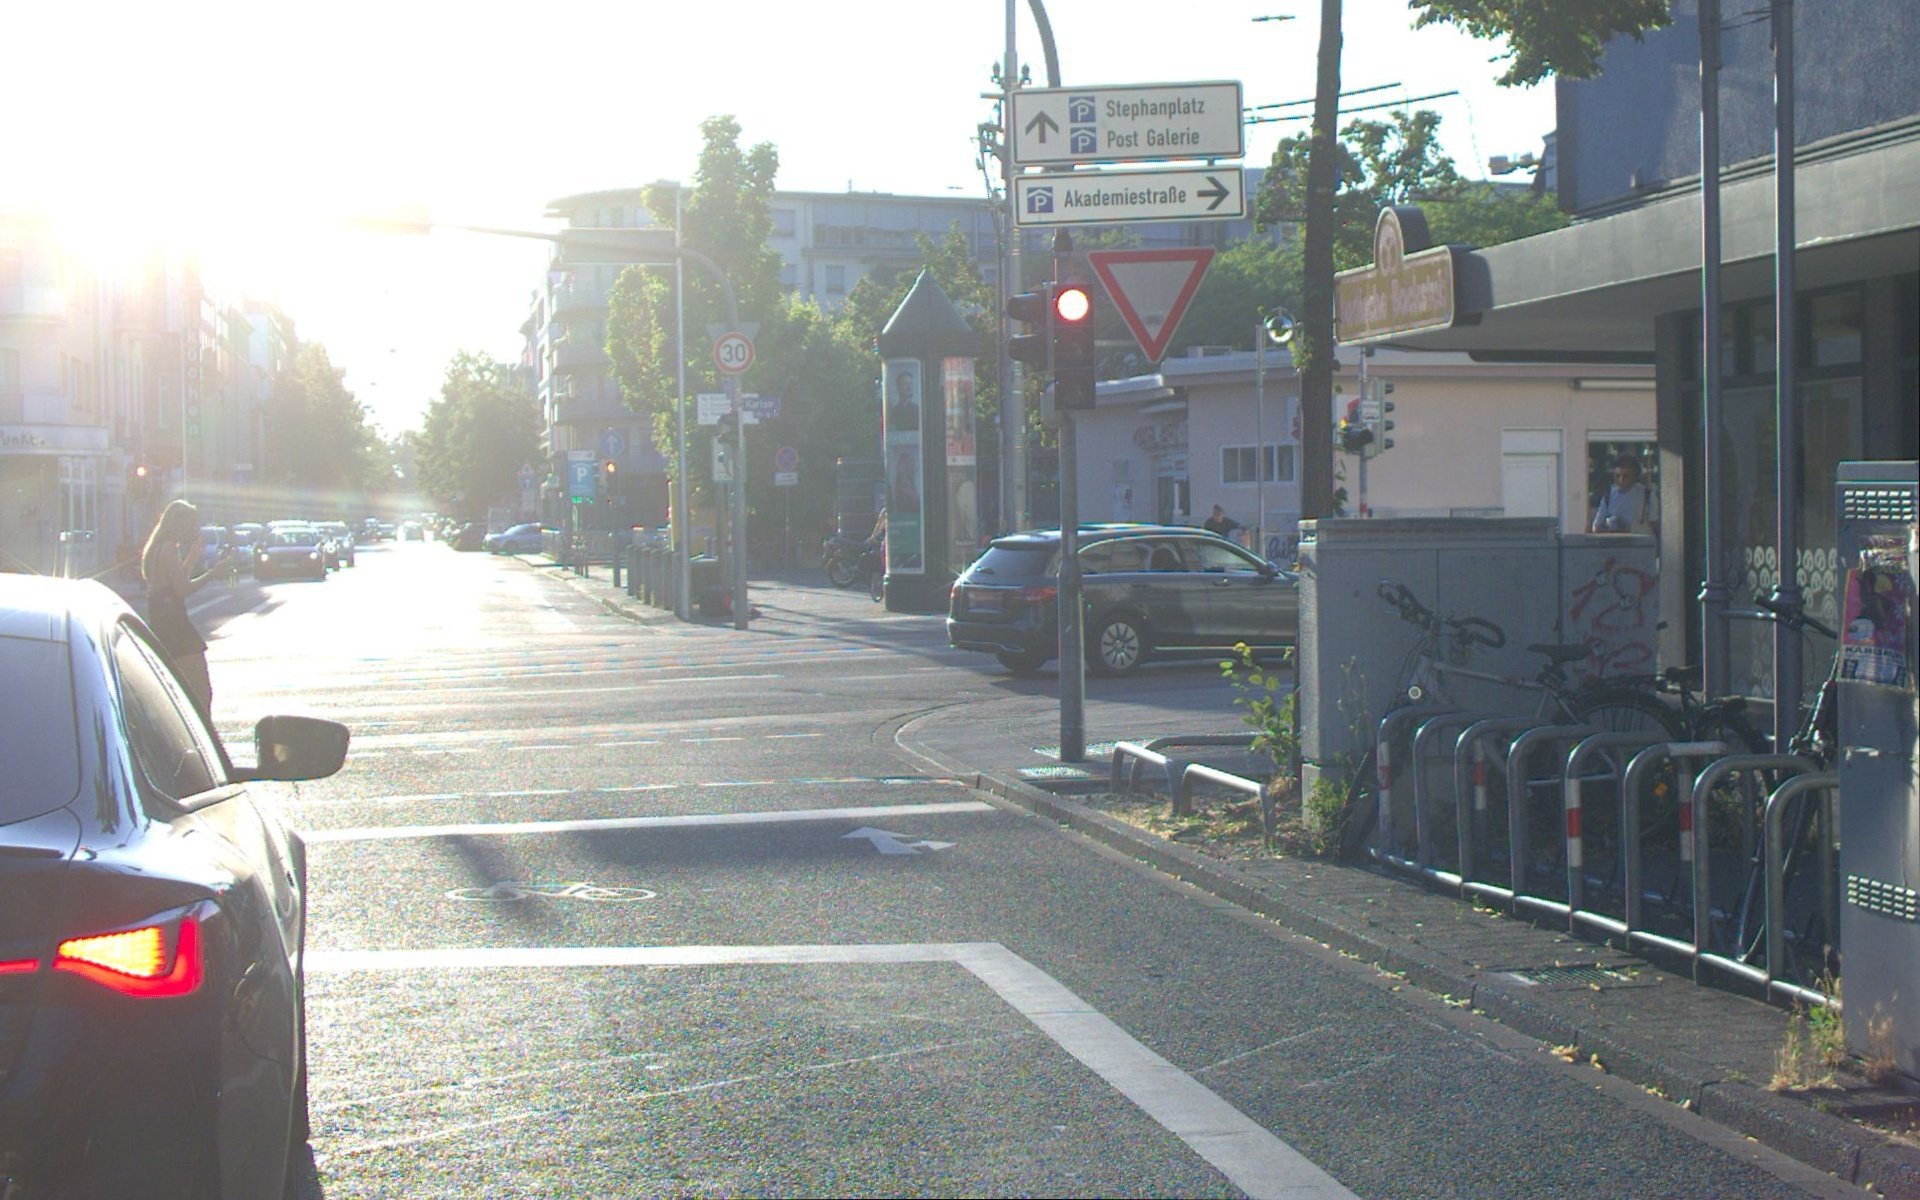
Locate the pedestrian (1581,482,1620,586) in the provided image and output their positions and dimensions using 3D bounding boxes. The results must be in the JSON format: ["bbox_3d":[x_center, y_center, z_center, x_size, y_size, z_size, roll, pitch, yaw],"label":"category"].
[{"bbox_3d":[10.702,-1.097,57.421,0.442,1.729,0.434,0,1,-33],"label":"pedestrian"}]

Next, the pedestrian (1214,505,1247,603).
[{"bbox_3d":[4.256,-0.726,54.137,0.471,1.524,0.735,1,1,2],"label":"pedestrian"}]

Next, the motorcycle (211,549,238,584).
[{"bbox_3d":[-20.054,-0.922,93.749,0.575,0.912,2.201,1,1,-8],"label":"motorcycle"}]

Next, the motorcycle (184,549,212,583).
[{"bbox_3d":[-20.867,-0.940,94.142,0.575,0.912,2.201,1,1,-8],"label":"motorcycle"}]

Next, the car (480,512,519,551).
[{"bbox_3d":[-22.095,-3.290,165.016,1.771,1.842,4.001,-1,2,-7],"label":"car"}]

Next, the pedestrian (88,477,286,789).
[{"bbox_3d":[-4.743,0.186,21.084,1.001,1.854,0.640,-2,2,-28],"label":"pedestrian"}]

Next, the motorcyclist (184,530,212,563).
[{"bbox_3d":[-20.861,-1.470,94.154,0.575,0.912,2.201,1,1,-8],"label":"motorcyclist"}]

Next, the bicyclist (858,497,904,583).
[{"bbox_3d":[-1.358,-1.026,59.115,0.550,1.476,0.723,0,0,-23],"label":"bicyclist"}]

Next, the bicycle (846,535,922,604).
[{"bbox_3d":[-1.320,-0.530,59.029,0.550,1.155,2.145,0,1,-23],"label":"bicycle"}]

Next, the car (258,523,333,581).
[{"bbox_3d":[-18.265,-1.335,94.625,1.817,1.514,4.001,-1,2,-8],"label":"car"}]

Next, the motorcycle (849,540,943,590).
[{"bbox_3d":[-1.270,-0.694,67.927,1.668,0.935,0.856,-1,2,-19],"label":"motorcycle"}]

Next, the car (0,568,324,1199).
[{"bbox_3d":[-2.118,0.670,6.490,1.736,1.424,4.225,0,1,-10],"label":"car"}]

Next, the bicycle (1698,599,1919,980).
[{"bbox_3d":[3.198,0.617,11.314,1.440,1.216,0.383,1,1,-7],"label":"bicycle"}]

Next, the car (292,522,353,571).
[{"bbox_3d":[-20.930,-1.777,112.982,1.817,1.514,4.001,-1,2,-8],"label":"car"}]

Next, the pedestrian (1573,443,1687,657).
[{"bbox_3d":[5.869,-0.438,30.095,0.836,1.835,0.678,-1,1,22],"label":"pedestrian"}]

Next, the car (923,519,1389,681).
[{"bbox_3d":[1.981,-0.048,34.199,4.406,1.468,1.818,-2,2,-33],"label":"car"}]

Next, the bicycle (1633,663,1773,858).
[{"bbox_3d":[3.312,0.703,15.372,0.249,0.793,1.116,1,1,-7],"label":"bicycle"}]

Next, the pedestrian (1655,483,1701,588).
[{"bbox_3d":[11.851,-1.070,56.775,0.478,1.729,0.531,0,1,-33],"label":"pedestrian"}]

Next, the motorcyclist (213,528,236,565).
[{"bbox_3d":[-20.037,-1.449,93.640,0.575,0.992,0.703,1,1,-8],"label":"motorcyclist"}]

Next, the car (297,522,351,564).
[{"bbox_3d":[-23.763,-2.132,128.515,1.817,1.514,4.001,-1,2,-8],"label":"car"}]

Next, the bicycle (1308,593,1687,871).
[{"bbox_3d":[2.367,0.572,15.155,1.612,1.167,0.318,-1,1,-6],"label":"bicycle"}]
